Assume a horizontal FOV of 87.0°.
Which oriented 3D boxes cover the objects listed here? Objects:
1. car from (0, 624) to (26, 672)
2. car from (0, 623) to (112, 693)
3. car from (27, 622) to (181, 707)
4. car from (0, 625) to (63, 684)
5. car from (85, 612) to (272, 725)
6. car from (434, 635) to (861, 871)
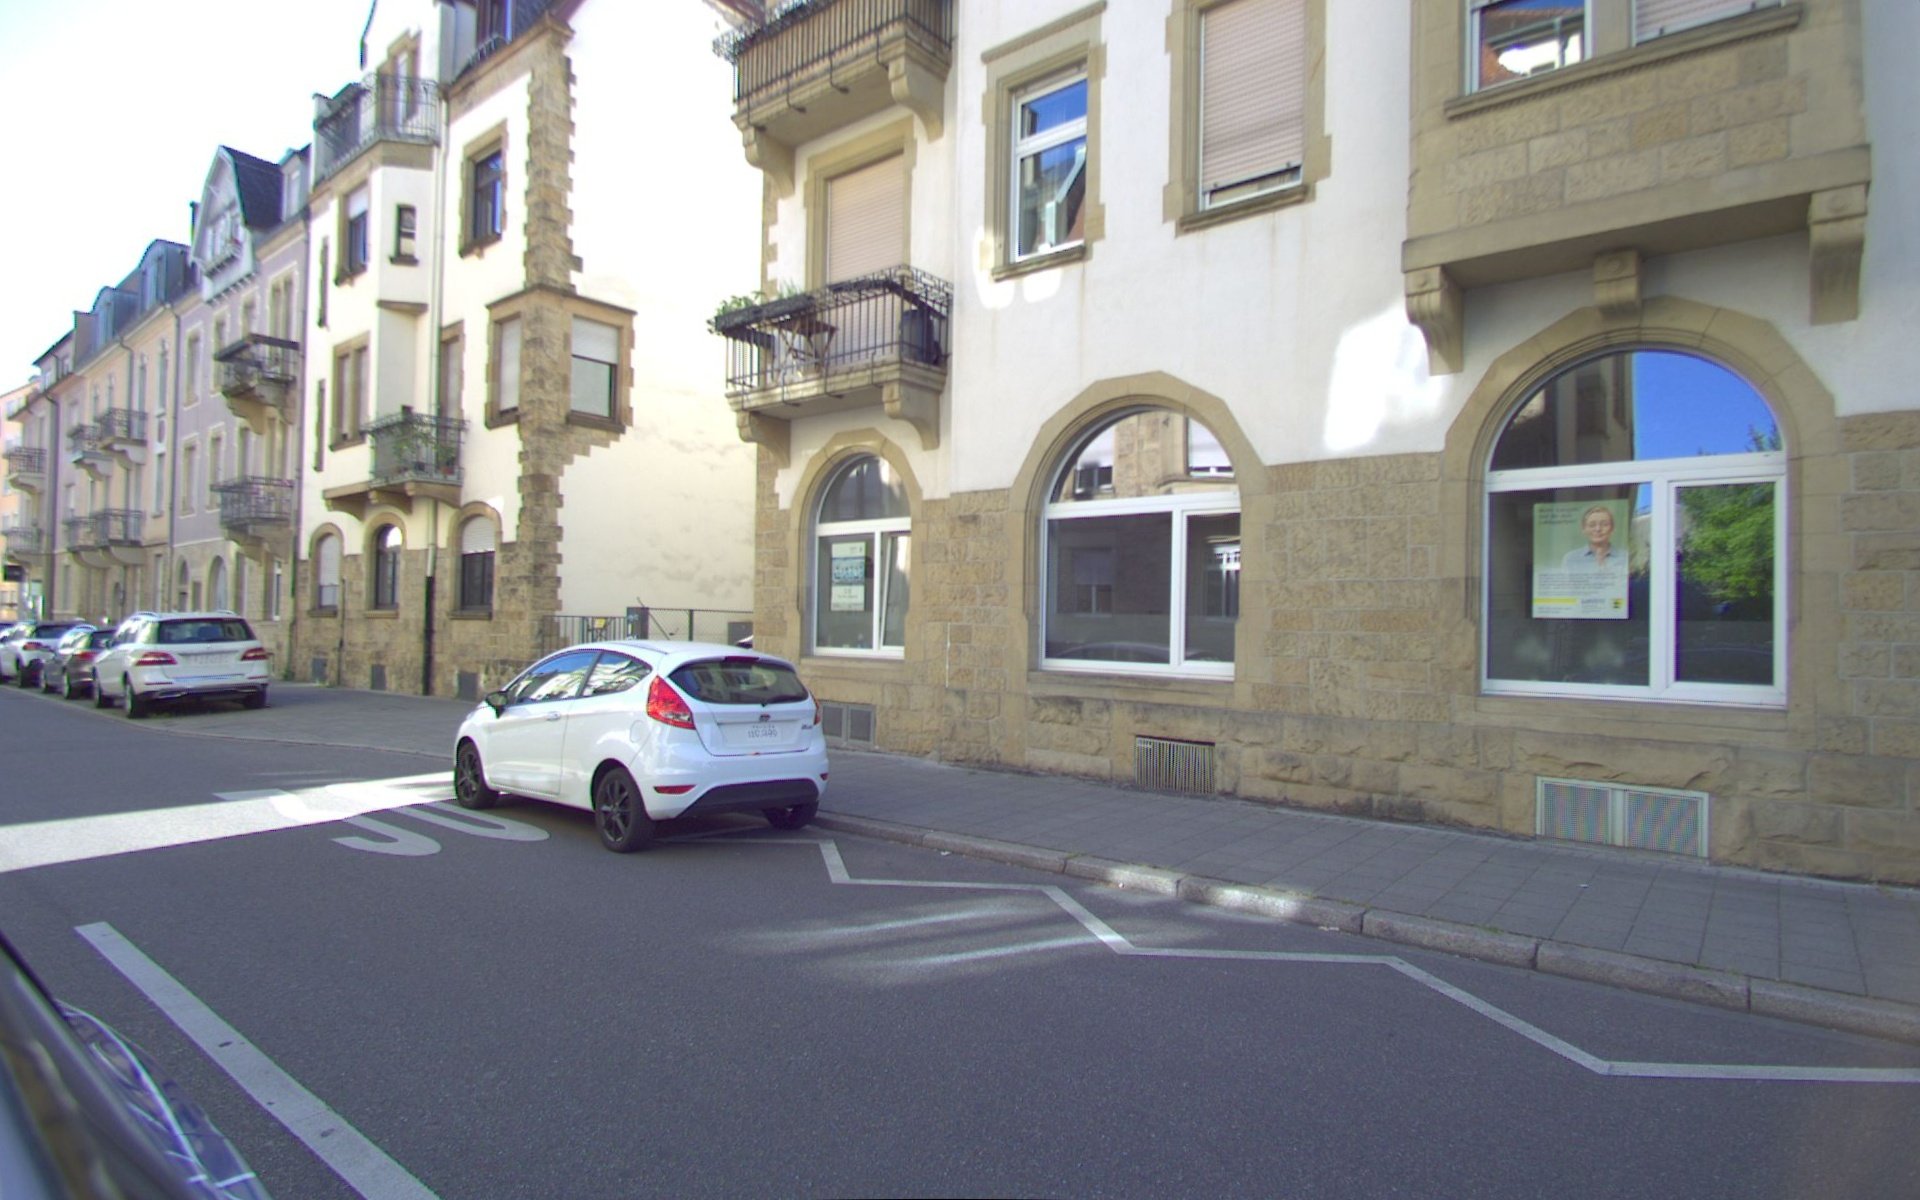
[{"bbox_3d":[-33.147,1.606,34.223,4.319,1.520,1.866,-1,0,41],"label":"car"},{"bbox_3d":[-22.955,1.383,25.436,4.319,1.520,1.866,-1,0,41],"label":"car"},{"bbox_3d":[-18.451,1.291,21.755,4.319,1.519,1.866,-1,2,41],"label":"car"},{"bbox_3d":[-27.163,1.516,28.876,4.317,1.511,1.833,-1,0,41],"label":"car"},{"bbox_3d":[-13.970,1.100,18.011,4.209,1.740,1.866,-1,0,41],"label":"car"},{"bbox_3d":[-2.644,1.047,8.182,3.642,1.469,1.634,-2,-5,42],"label":"car"}]
